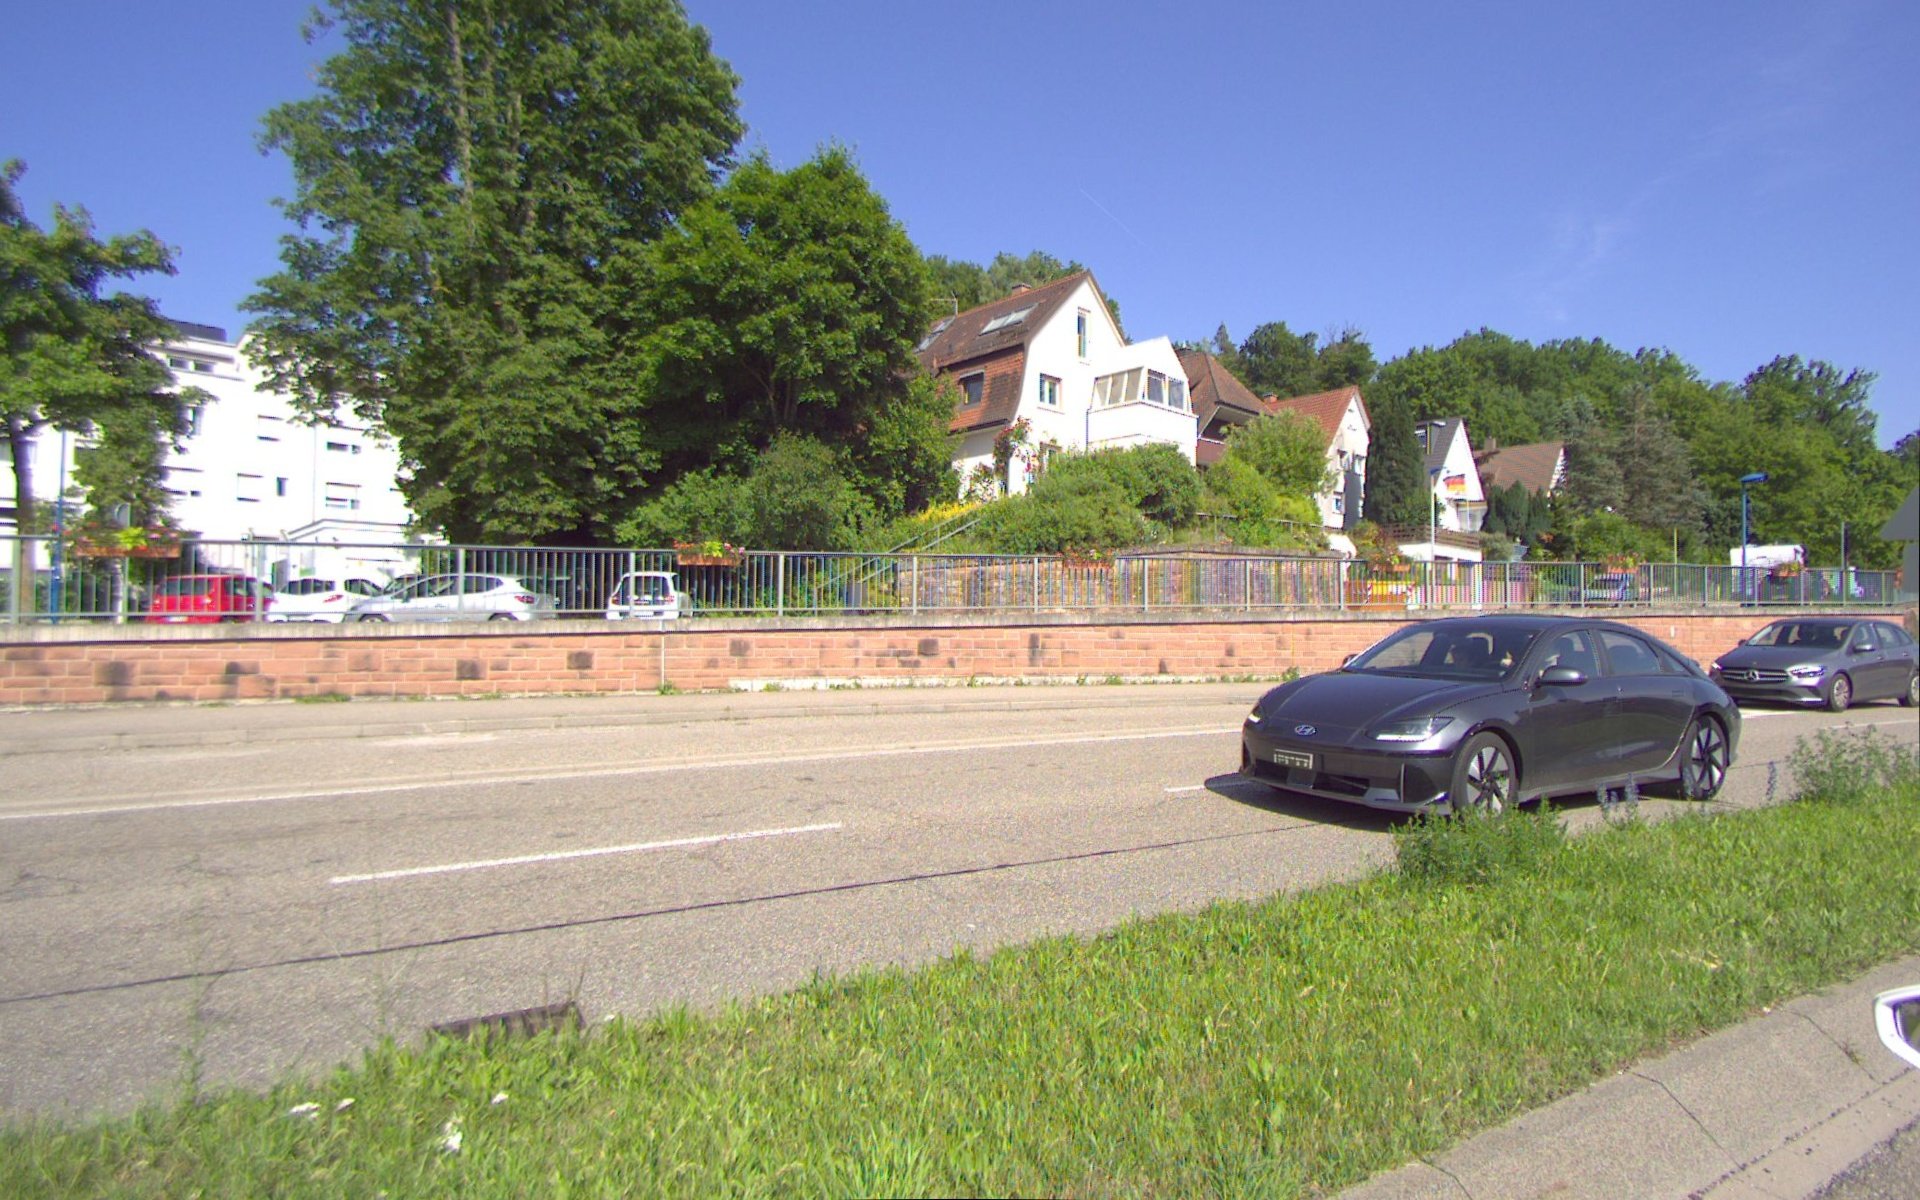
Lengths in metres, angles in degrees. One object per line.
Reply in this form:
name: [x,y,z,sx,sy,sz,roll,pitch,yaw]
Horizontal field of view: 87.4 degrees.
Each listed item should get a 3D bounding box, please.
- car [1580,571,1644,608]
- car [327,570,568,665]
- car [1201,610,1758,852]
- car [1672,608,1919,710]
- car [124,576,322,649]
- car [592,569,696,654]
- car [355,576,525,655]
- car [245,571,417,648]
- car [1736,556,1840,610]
car: [31.194,-0.464,48.035,1.875,1.651,3.976,0,-1,44]
car: [-10.377,0.363,20.591,3.922,1.813,1.921,1,-1,-2]
car: [4.337,0.856,8.183,4.659,1.490,1.783,1,0,-29]
car: [14.888,0.972,17.759,4.453,1.585,1.985,1,0,-28]
car: [-17.460,0.228,24.078,1.877,1.581,3.998,1,1,-2]
car: [-7.647,0.209,24.665,1.879,1.901,3.993,0,1,-9]
car: [-12.207,0.299,23.911,1.961,1.694,3.999,1,1,0]
car: [-15.064,0.157,24.334,1.877,1.724,3.996,0,2,-5]
car: [31.749,-0.662,38.498,4.687,1.946,2.006,0,2,-37]
